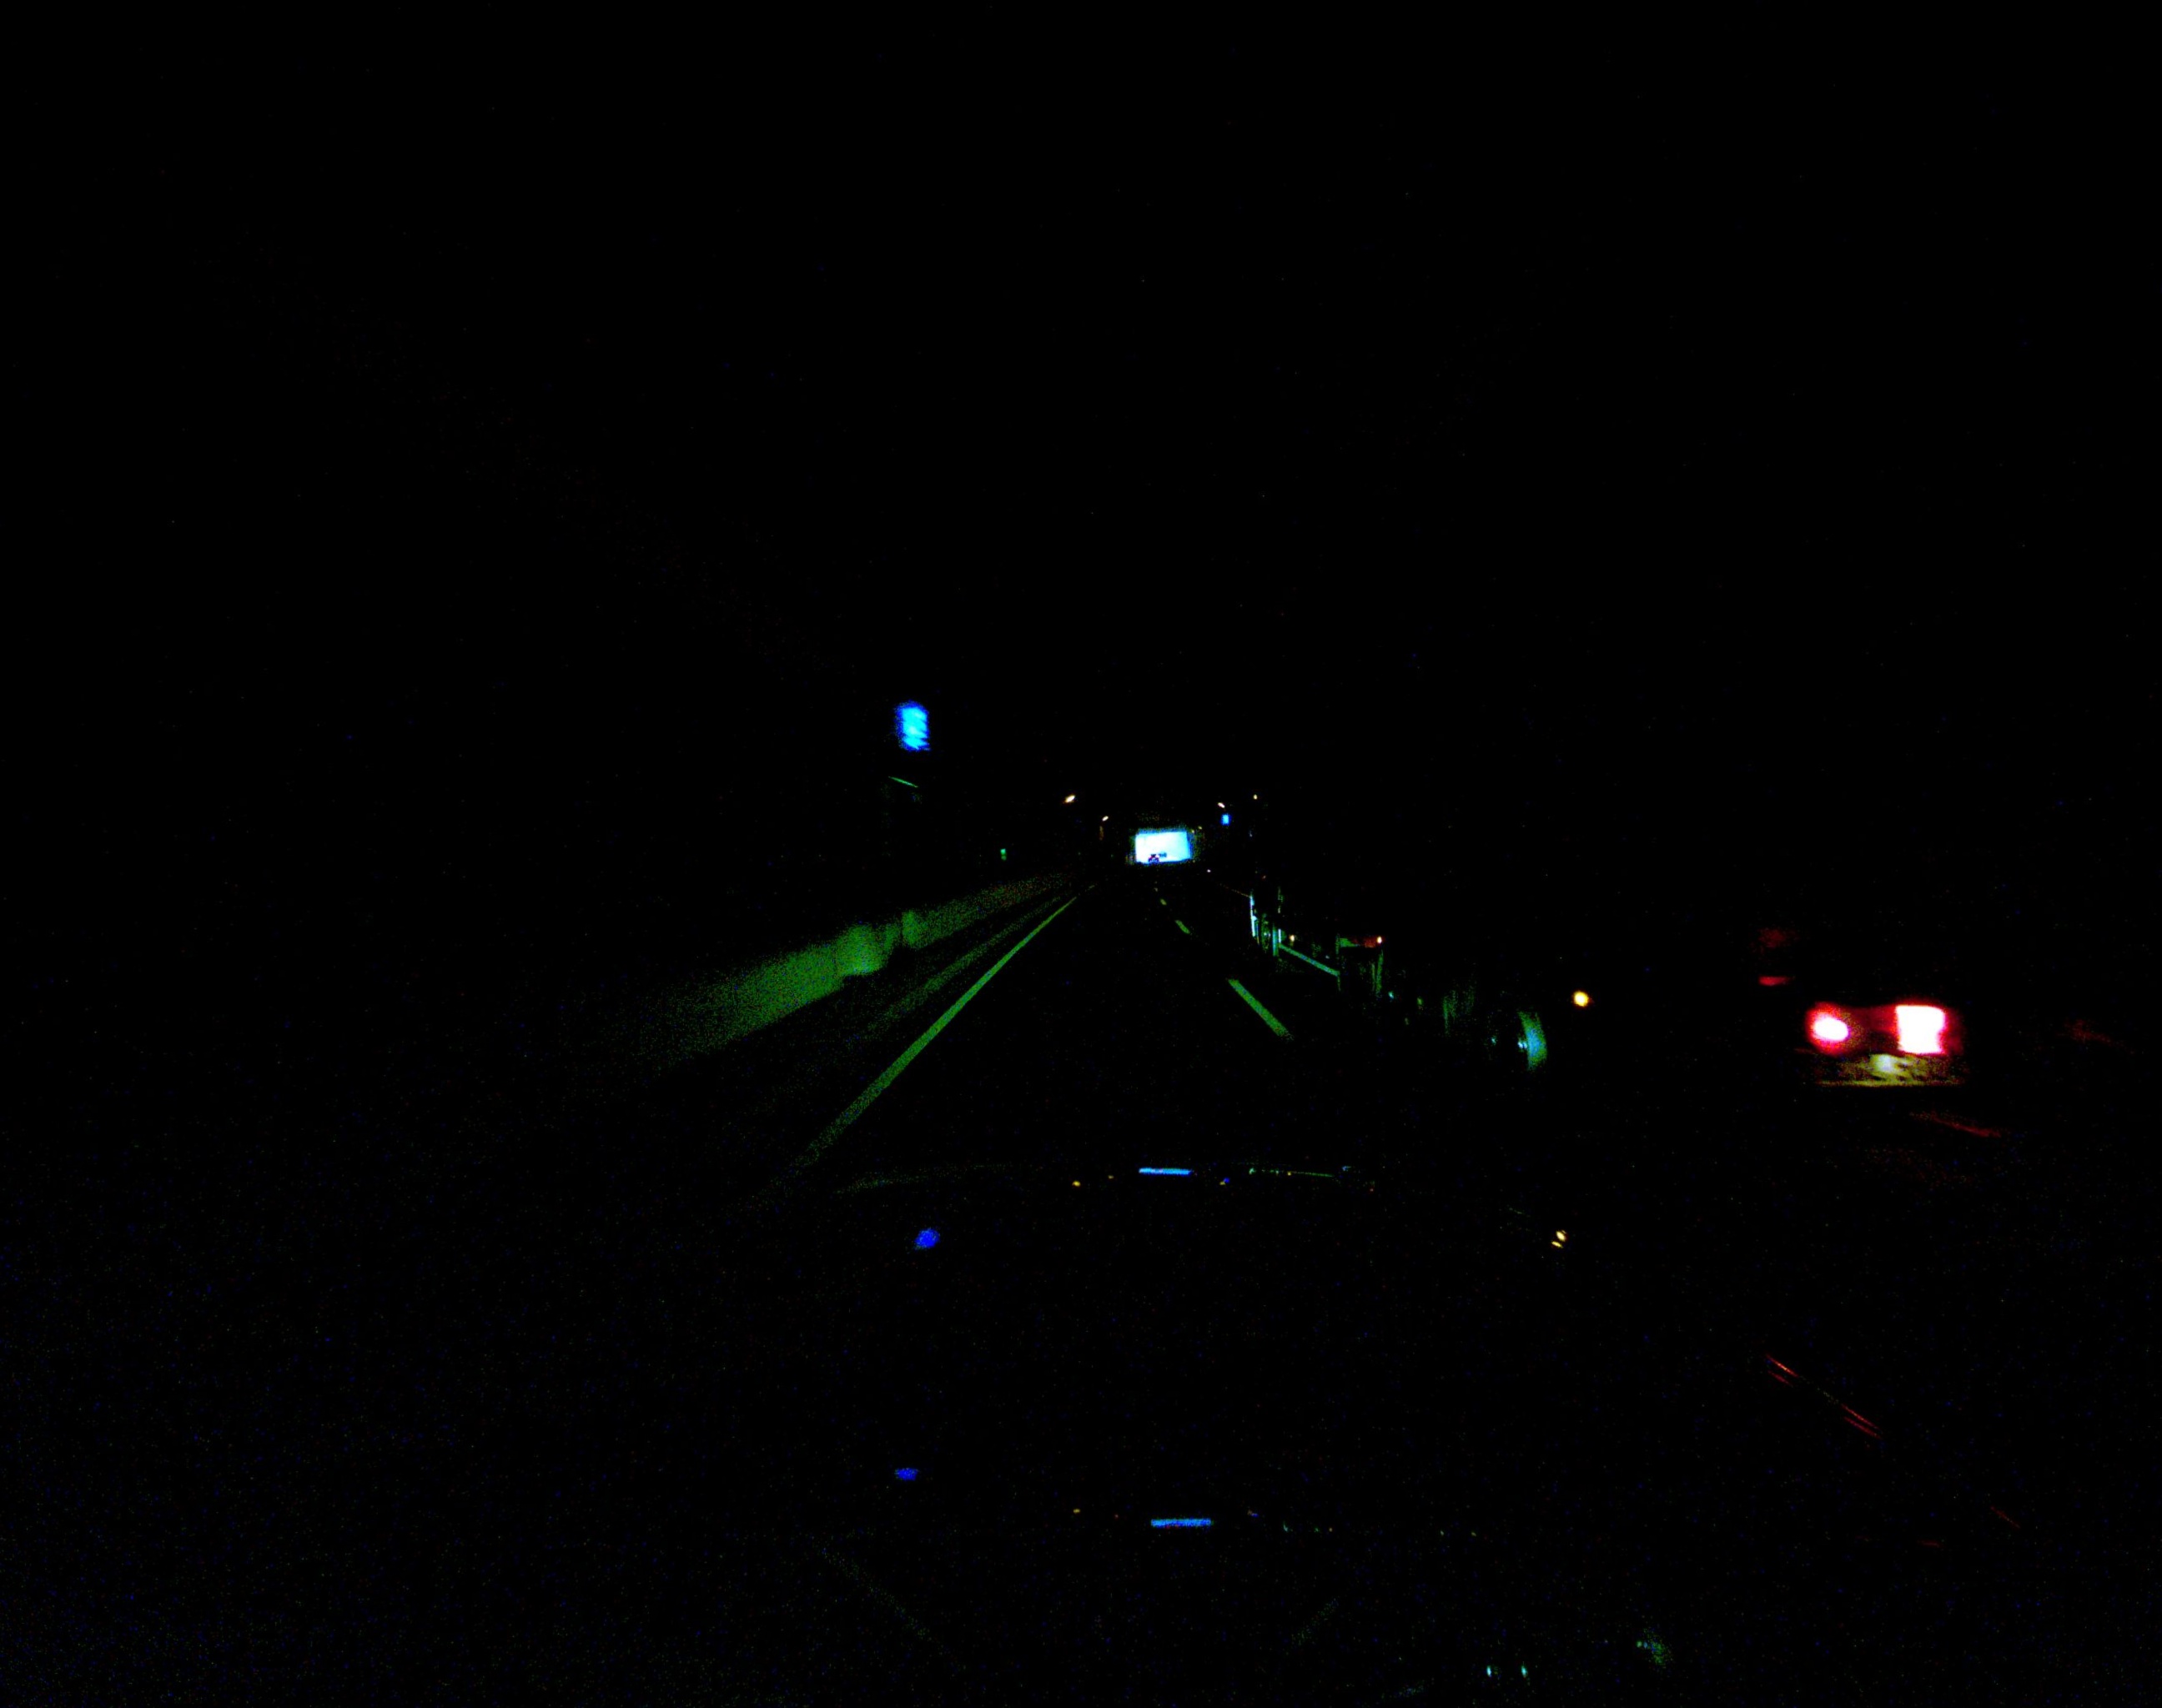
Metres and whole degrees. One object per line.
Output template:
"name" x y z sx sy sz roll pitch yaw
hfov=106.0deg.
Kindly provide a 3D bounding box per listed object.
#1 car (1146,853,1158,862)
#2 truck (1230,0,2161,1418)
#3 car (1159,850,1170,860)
"car" 11.862 0.516 135.277 1.832 1.388 4.006 -2 -1 6
"truck" 3.559 -0.550 7.057 2.878 3.913 9.913 -2 0 2
"car" 15.625 0.148 153.204 1.861 1.732 4.004 -2 -1 4
